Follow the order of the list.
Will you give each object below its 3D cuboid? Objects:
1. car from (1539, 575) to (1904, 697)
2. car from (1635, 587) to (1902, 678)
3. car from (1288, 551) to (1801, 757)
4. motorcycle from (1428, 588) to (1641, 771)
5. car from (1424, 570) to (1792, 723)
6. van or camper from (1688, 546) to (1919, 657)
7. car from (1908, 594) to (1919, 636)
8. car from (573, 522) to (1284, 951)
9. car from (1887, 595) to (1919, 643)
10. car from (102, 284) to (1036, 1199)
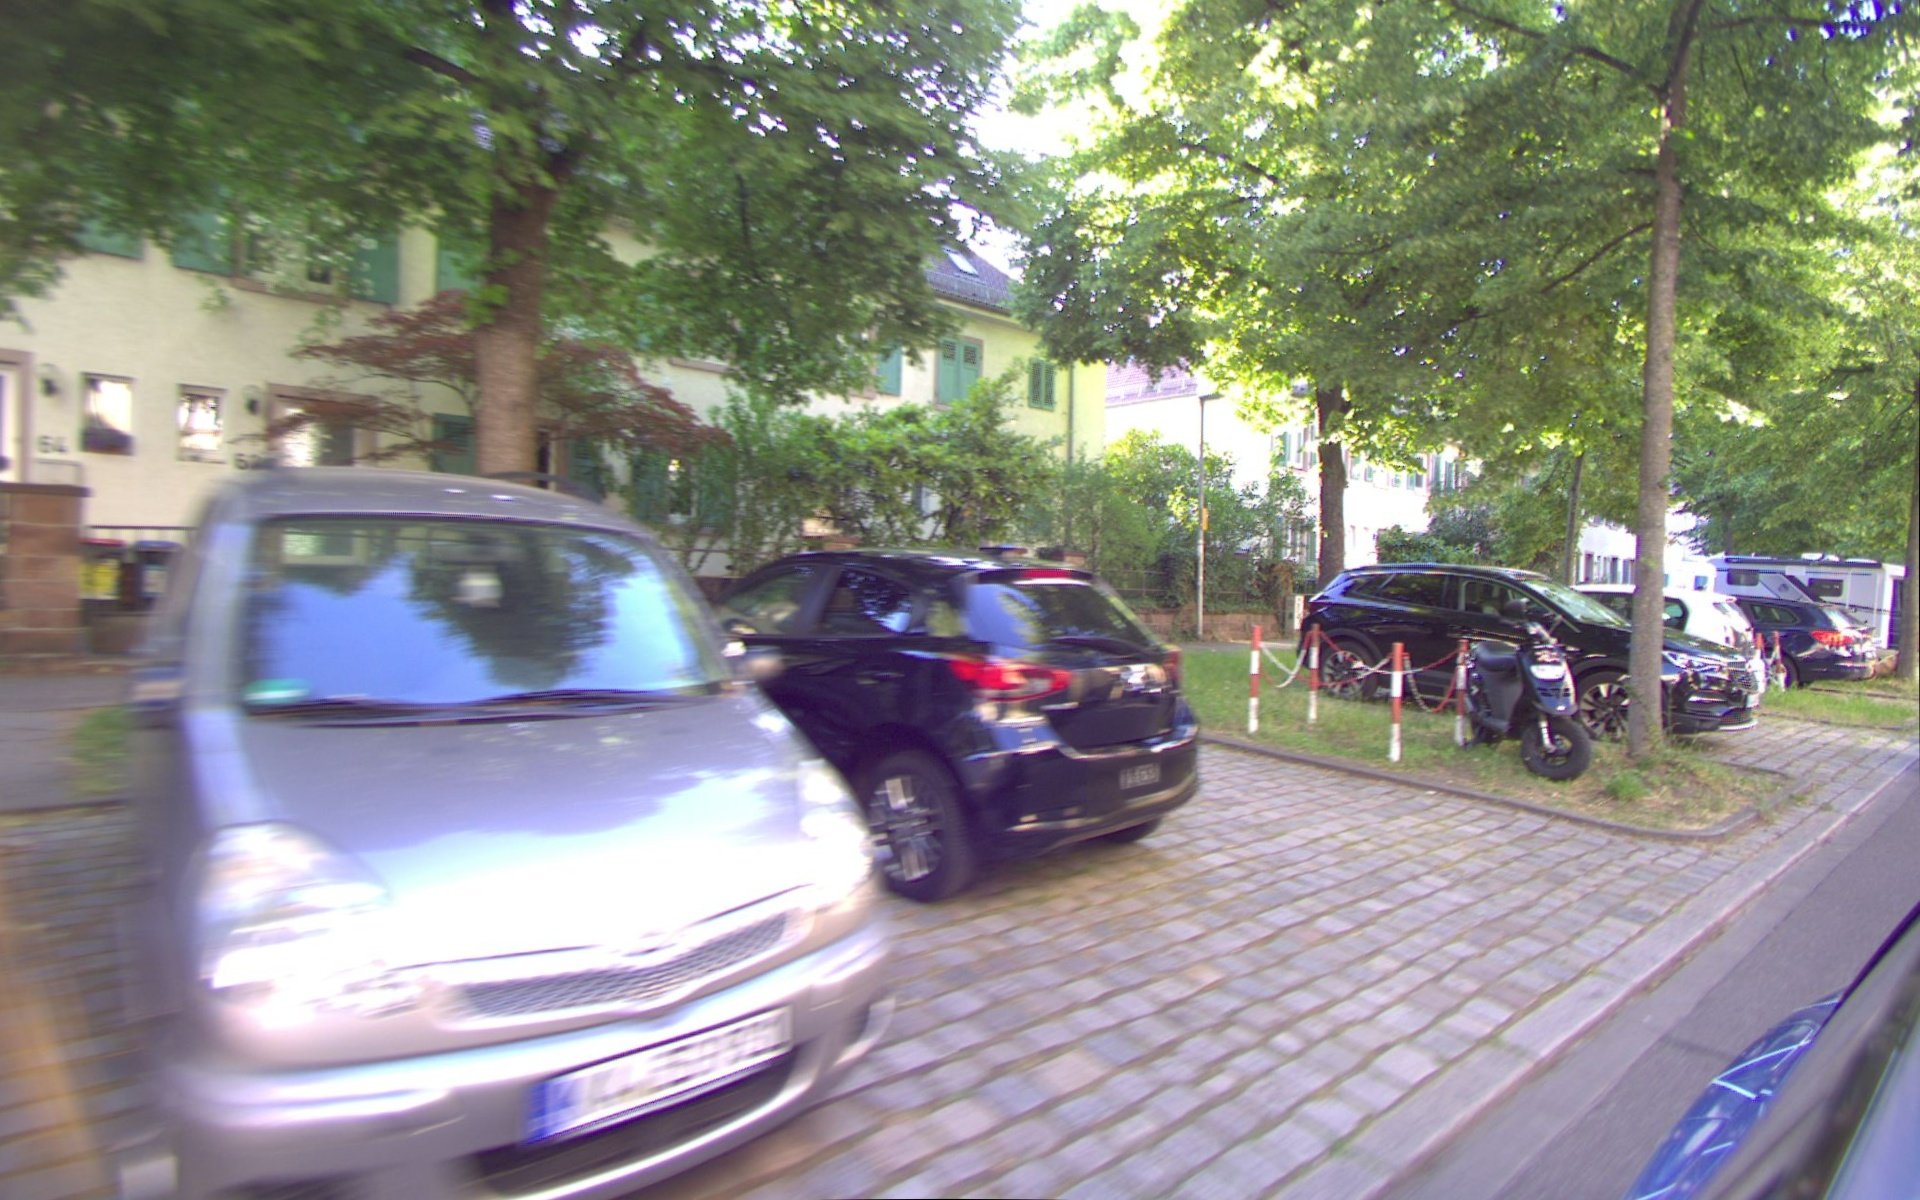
[{"bbox_3d":[12.363,0.474,16.713,1.721,1.495,4.471,1,4,-39],"label":"car"},{"bbox_3d":[16.370,0.564,20.615,1.967,1.537,3.992,-1,3,-43],"label":"car"},{"bbox_3d":[6.010,0.377,10.856,1.895,1.627,4.342,0,4,-41],"label":"car"},{"bbox_3d":[4.352,0.535,7.841,0.725,1.212,1.774,2,1,5],"label":"motorcycle"},{"bbox_3d":[7.890,0.456,12.545,1.663,1.493,3.456,1,3,-40],"label":"car"},{"bbox_3d":[25.282,-0.031,28.590,2.385,2.940,7.264,-1,3,-40],"label":"van or camper"},{"bbox_3d":[45.954,0.771,45.837,1.960,1.905,4.004,1,1,-31],"label":"car"},{"bbox_3d":[-0.447,0.384,5.638,1.758,1.490,3.879,0,4,-45],"label":"car"},{"bbox_3d":[38.144,0.790,38.509,1.964,1.837,3.996,1,2,-40],"label":"car"},{"bbox_3d":[-1.754,0.315,3.409,1.699,1.765,3.925,0,4,-40],"label":"car"}]
